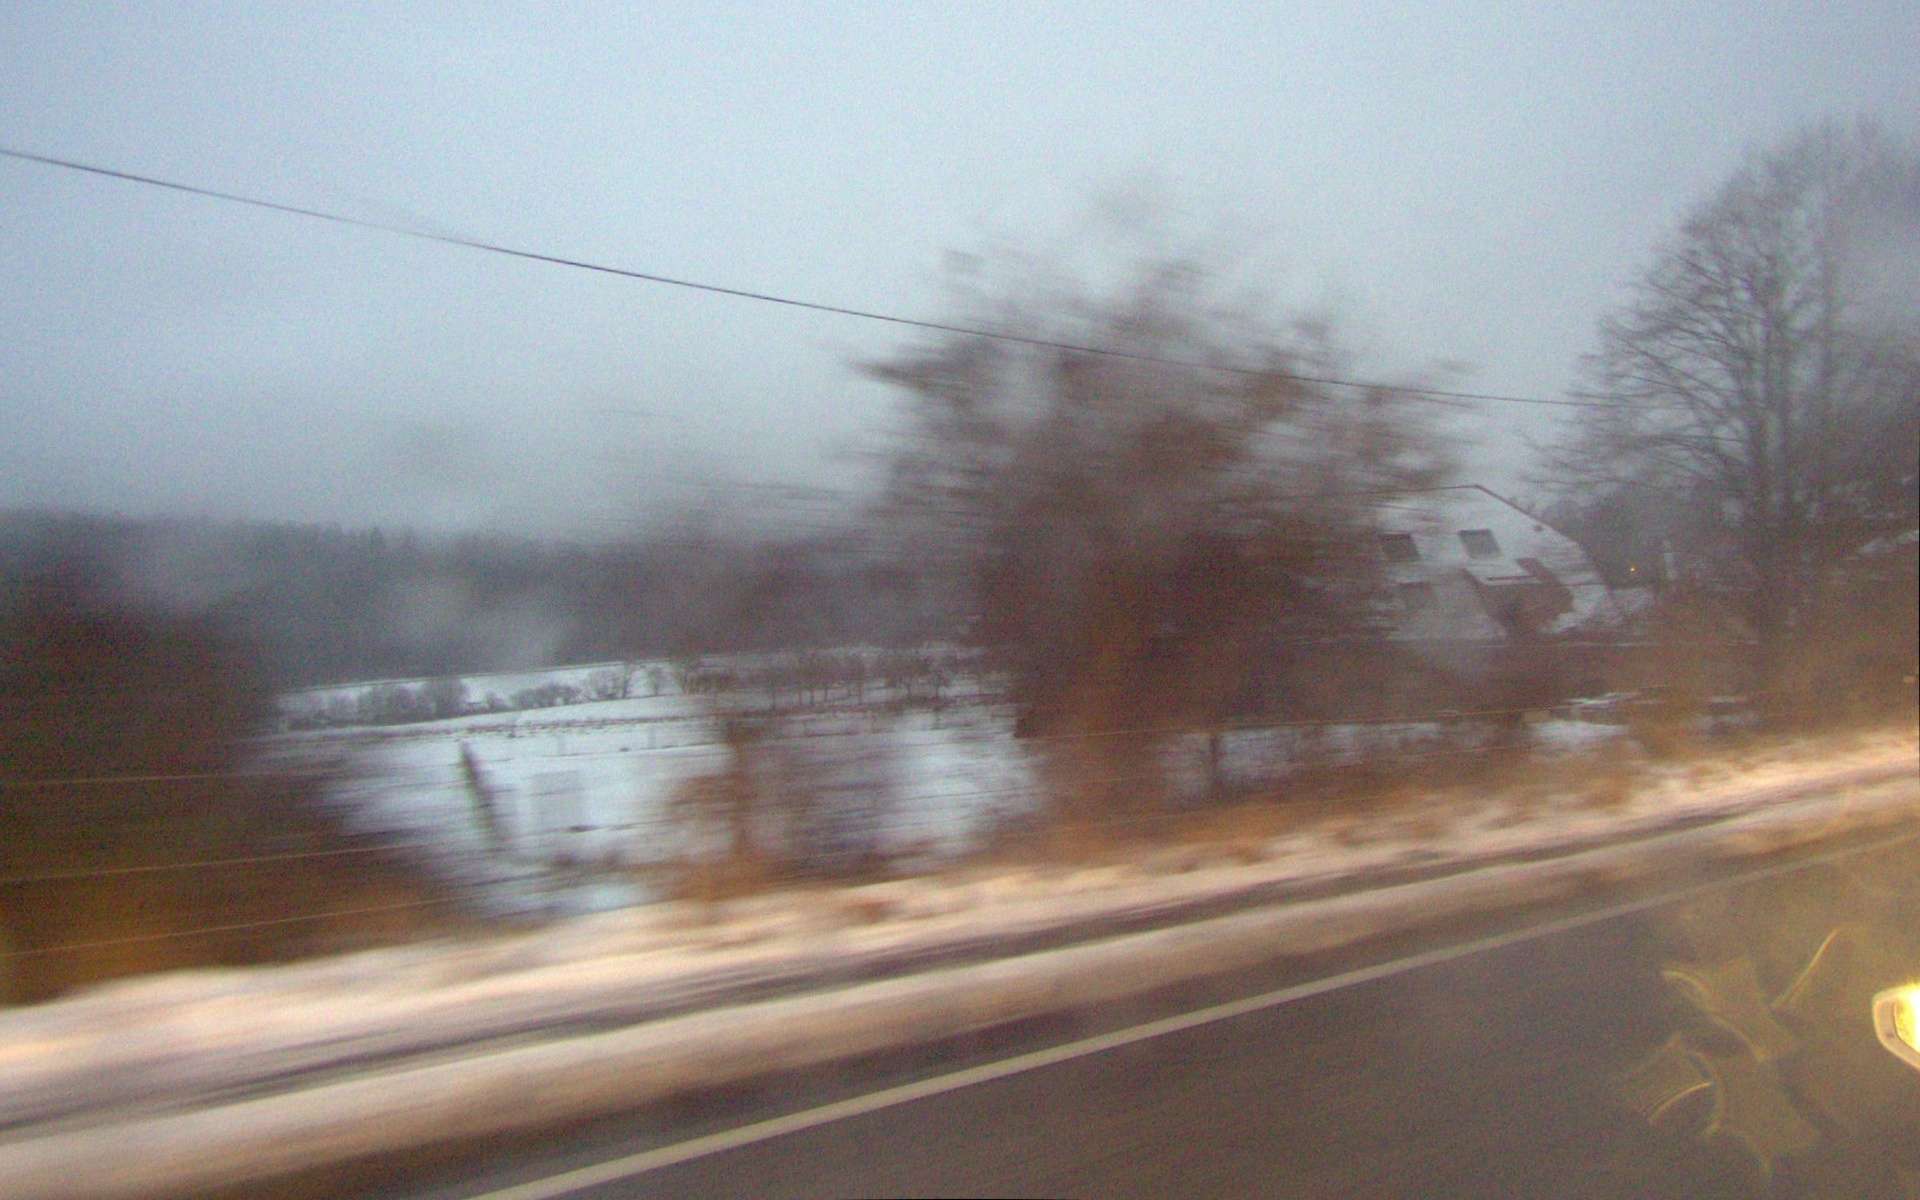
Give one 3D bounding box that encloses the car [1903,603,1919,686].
[{"bbox_3d":[32.923,1.466,32.148,6.157,2.605,2.457,2,-2,-31],"label":"car"}]
